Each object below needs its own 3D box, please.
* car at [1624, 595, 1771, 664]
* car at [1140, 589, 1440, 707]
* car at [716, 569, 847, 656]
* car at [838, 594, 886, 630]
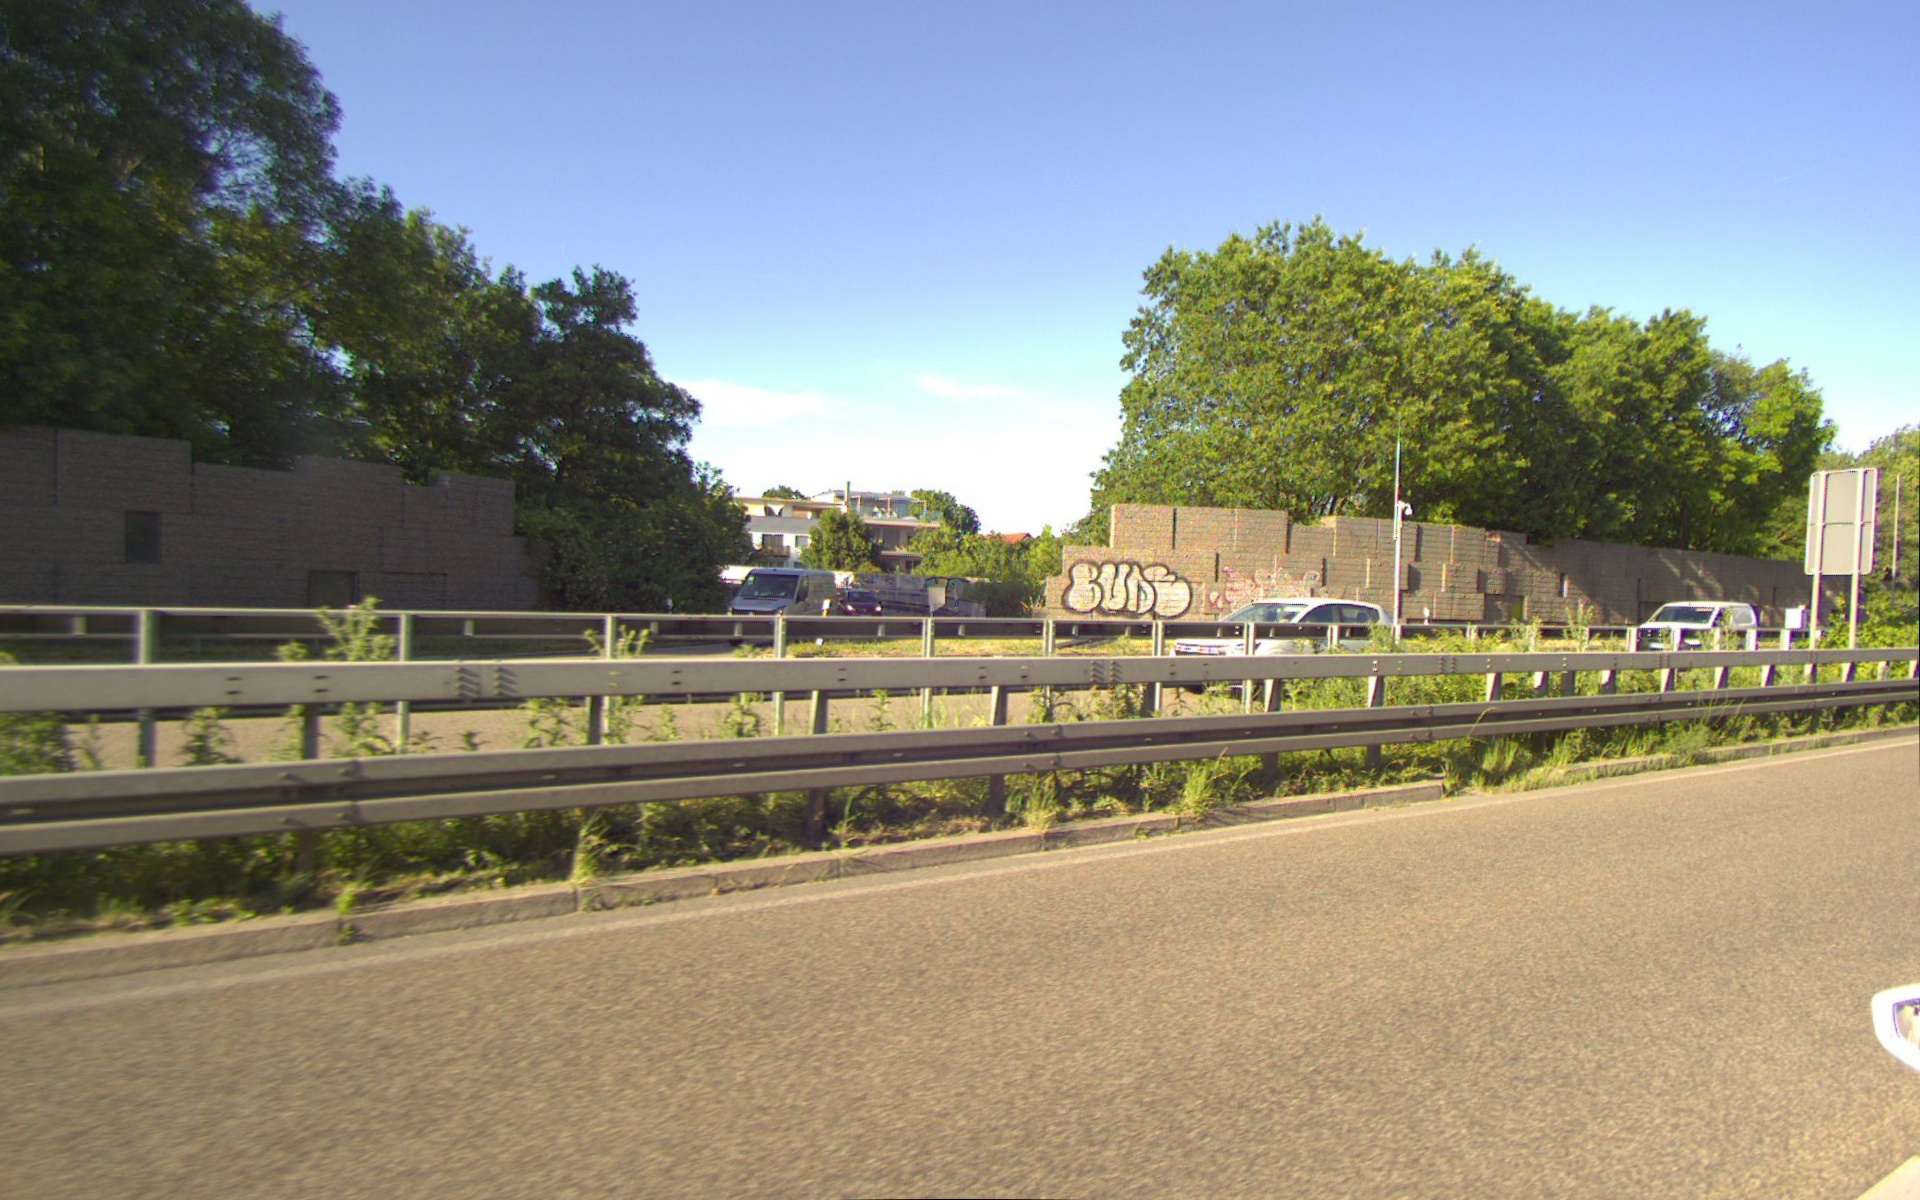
[{"bbox_3d":[21.909,0.824,29.795,4.567,1.846,1.812,0,3,-31],"label":"car"},{"bbox_3d":[5.103,0.653,15.363,4.569,1.500,1.812,0,3,-32],"label":"car"},{"bbox_3d":[-5.216,0.255,30.209,2.041,2.311,5.376,2,2,11],"label":"car"},{"bbox_3d":[-4.444,0.514,46.026,1.964,1.352,4.095,2,2,-3],"label":"car"}]
